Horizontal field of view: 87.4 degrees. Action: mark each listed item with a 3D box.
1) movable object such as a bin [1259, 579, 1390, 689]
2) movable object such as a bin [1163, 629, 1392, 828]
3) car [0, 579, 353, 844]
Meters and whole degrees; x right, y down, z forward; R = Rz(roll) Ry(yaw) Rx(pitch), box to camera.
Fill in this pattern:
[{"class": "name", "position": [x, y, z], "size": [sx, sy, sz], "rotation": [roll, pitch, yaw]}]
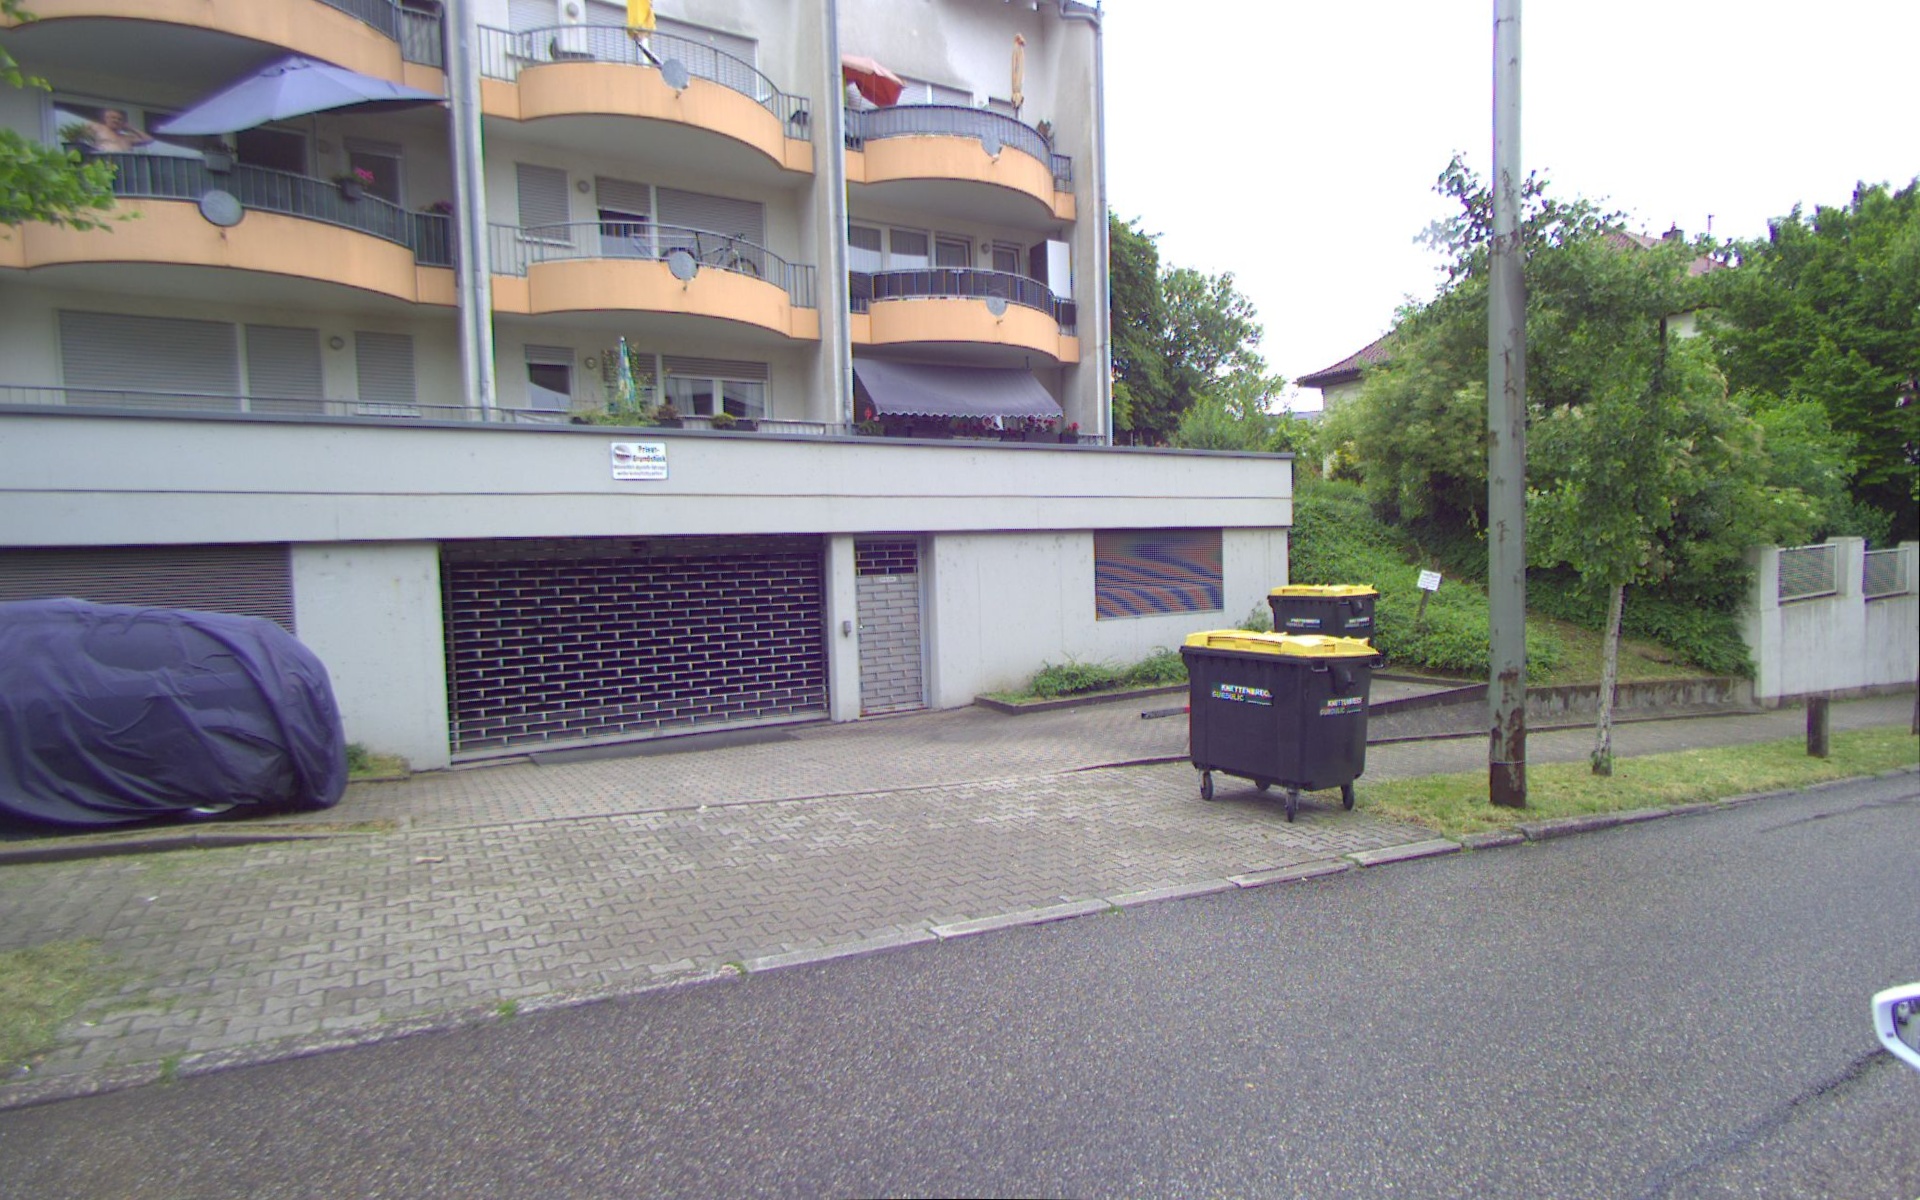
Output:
[{"class": "movable object such as a bin", "position": [5.227, 0.445, 14.428], "size": [1.215, 1.383, 1.288], "rotation": [-7, 6, -36]}, {"class": "movable object such as a bin", "position": [2.476, 0.927, 7.901], "size": [1.145, 1.324, 1.288], "rotation": [0, 1, -38]}, {"class": "car", "position": [-6.428, 0.714, 6.659], "size": [4.050, 1.581, 1.770], "rotation": [1, -4, -31]}]
